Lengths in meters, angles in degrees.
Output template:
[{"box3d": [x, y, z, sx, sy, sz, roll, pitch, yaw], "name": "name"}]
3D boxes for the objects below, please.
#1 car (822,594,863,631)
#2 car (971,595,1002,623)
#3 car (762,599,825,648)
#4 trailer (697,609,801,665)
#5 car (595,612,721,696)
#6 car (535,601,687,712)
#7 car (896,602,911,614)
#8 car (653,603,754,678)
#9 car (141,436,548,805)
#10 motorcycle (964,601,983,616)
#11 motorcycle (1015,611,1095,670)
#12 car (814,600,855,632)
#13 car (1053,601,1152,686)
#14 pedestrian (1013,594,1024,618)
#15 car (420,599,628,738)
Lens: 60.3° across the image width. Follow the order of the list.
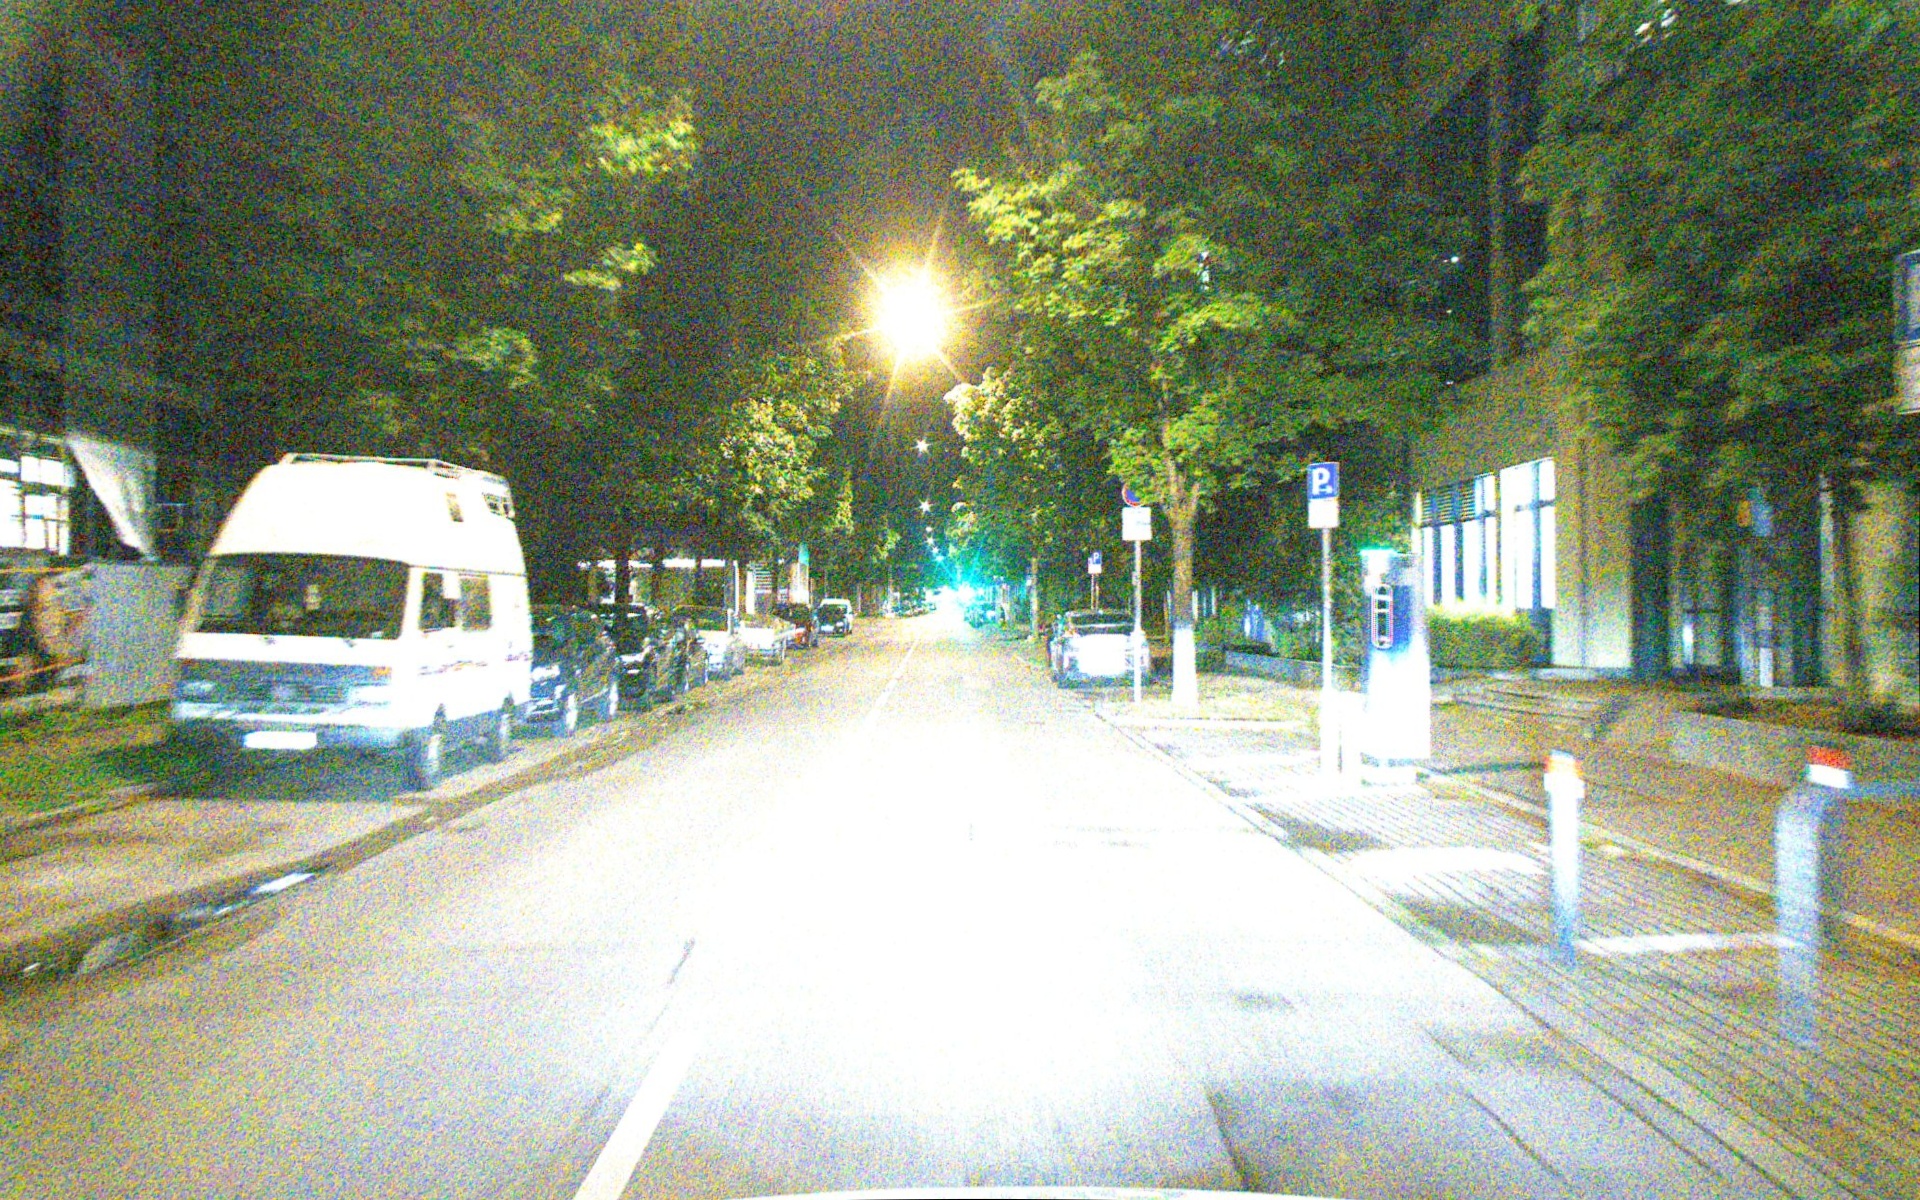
[{"box3d": [-6.262, 0.639, 88.651, 1.785, 1.843, 4.210, 3, 0, 0], "name": "car"}, {"box3d": [1.634, 0.565, 102.773, 1.815, 1.683, 4.209, -1, 0, 0], "name": "car"}, {"box3d": [-6.016, 0.831, 60.175, 1.785, 1.626, 4.073, 3, 0, 0], "name": "car"}, {"box3d": [-5.705, 0.976, 45.359, 2.067, 1.358, 5.435, 2, 0, 0], "name": "trailer"}, {"box3d": [-5.765, 0.988, 32.087, 1.670, 1.436, 4.632, 0, 0, -1], "name": "car"}, {"box3d": [-5.576, 0.852, 26.897, 1.707, 1.634, 4.296, 1, 0, -3], "name": "car"}, {"box3d": [-7.192, 0.988, 210.645, 1.705, 1.440, 3.751, 0, 0, 0], "name": "car"}, {"box3d": [-5.746, 0.870, 37.450, 1.682, 1.528, 4.204, 2, 0, -2], "name": "car"}, {"box3d": [-5.580, 0.165, 15.828, 2.135, 2.960, 4.908, 1, 0, -2], "name": "car"}, {"box3d": [1.190, 0.770, 144.183, 0.625, 1.292, 2.058, 0, 0, 34], "name": "motorcycle"}, {"box3d": [2.205, 0.922, 38.687, 0.914, 1.306, 2.216, -1, 0, -25], "name": "motorcycle"}, {"box3d": [-6.194, 0.795, 82.158, 1.665, 1.458, 3.828, 3, 0, 0], "name": "car"}, {"box3d": [2.734, 0.800, 32.414, 1.634, 1.454, 4.148, -3, 0, 1], "name": "car"}, {"box3d": [4.383, 0.424, 124.127, 0.691, 1.752, 0.821, -2, 0, -1], "name": "pedestrian"}, {"box3d": [-5.600, 0.817, 21.760, 1.706, 1.634, 4.114, 1, 0, -1], "name": "car"}]
